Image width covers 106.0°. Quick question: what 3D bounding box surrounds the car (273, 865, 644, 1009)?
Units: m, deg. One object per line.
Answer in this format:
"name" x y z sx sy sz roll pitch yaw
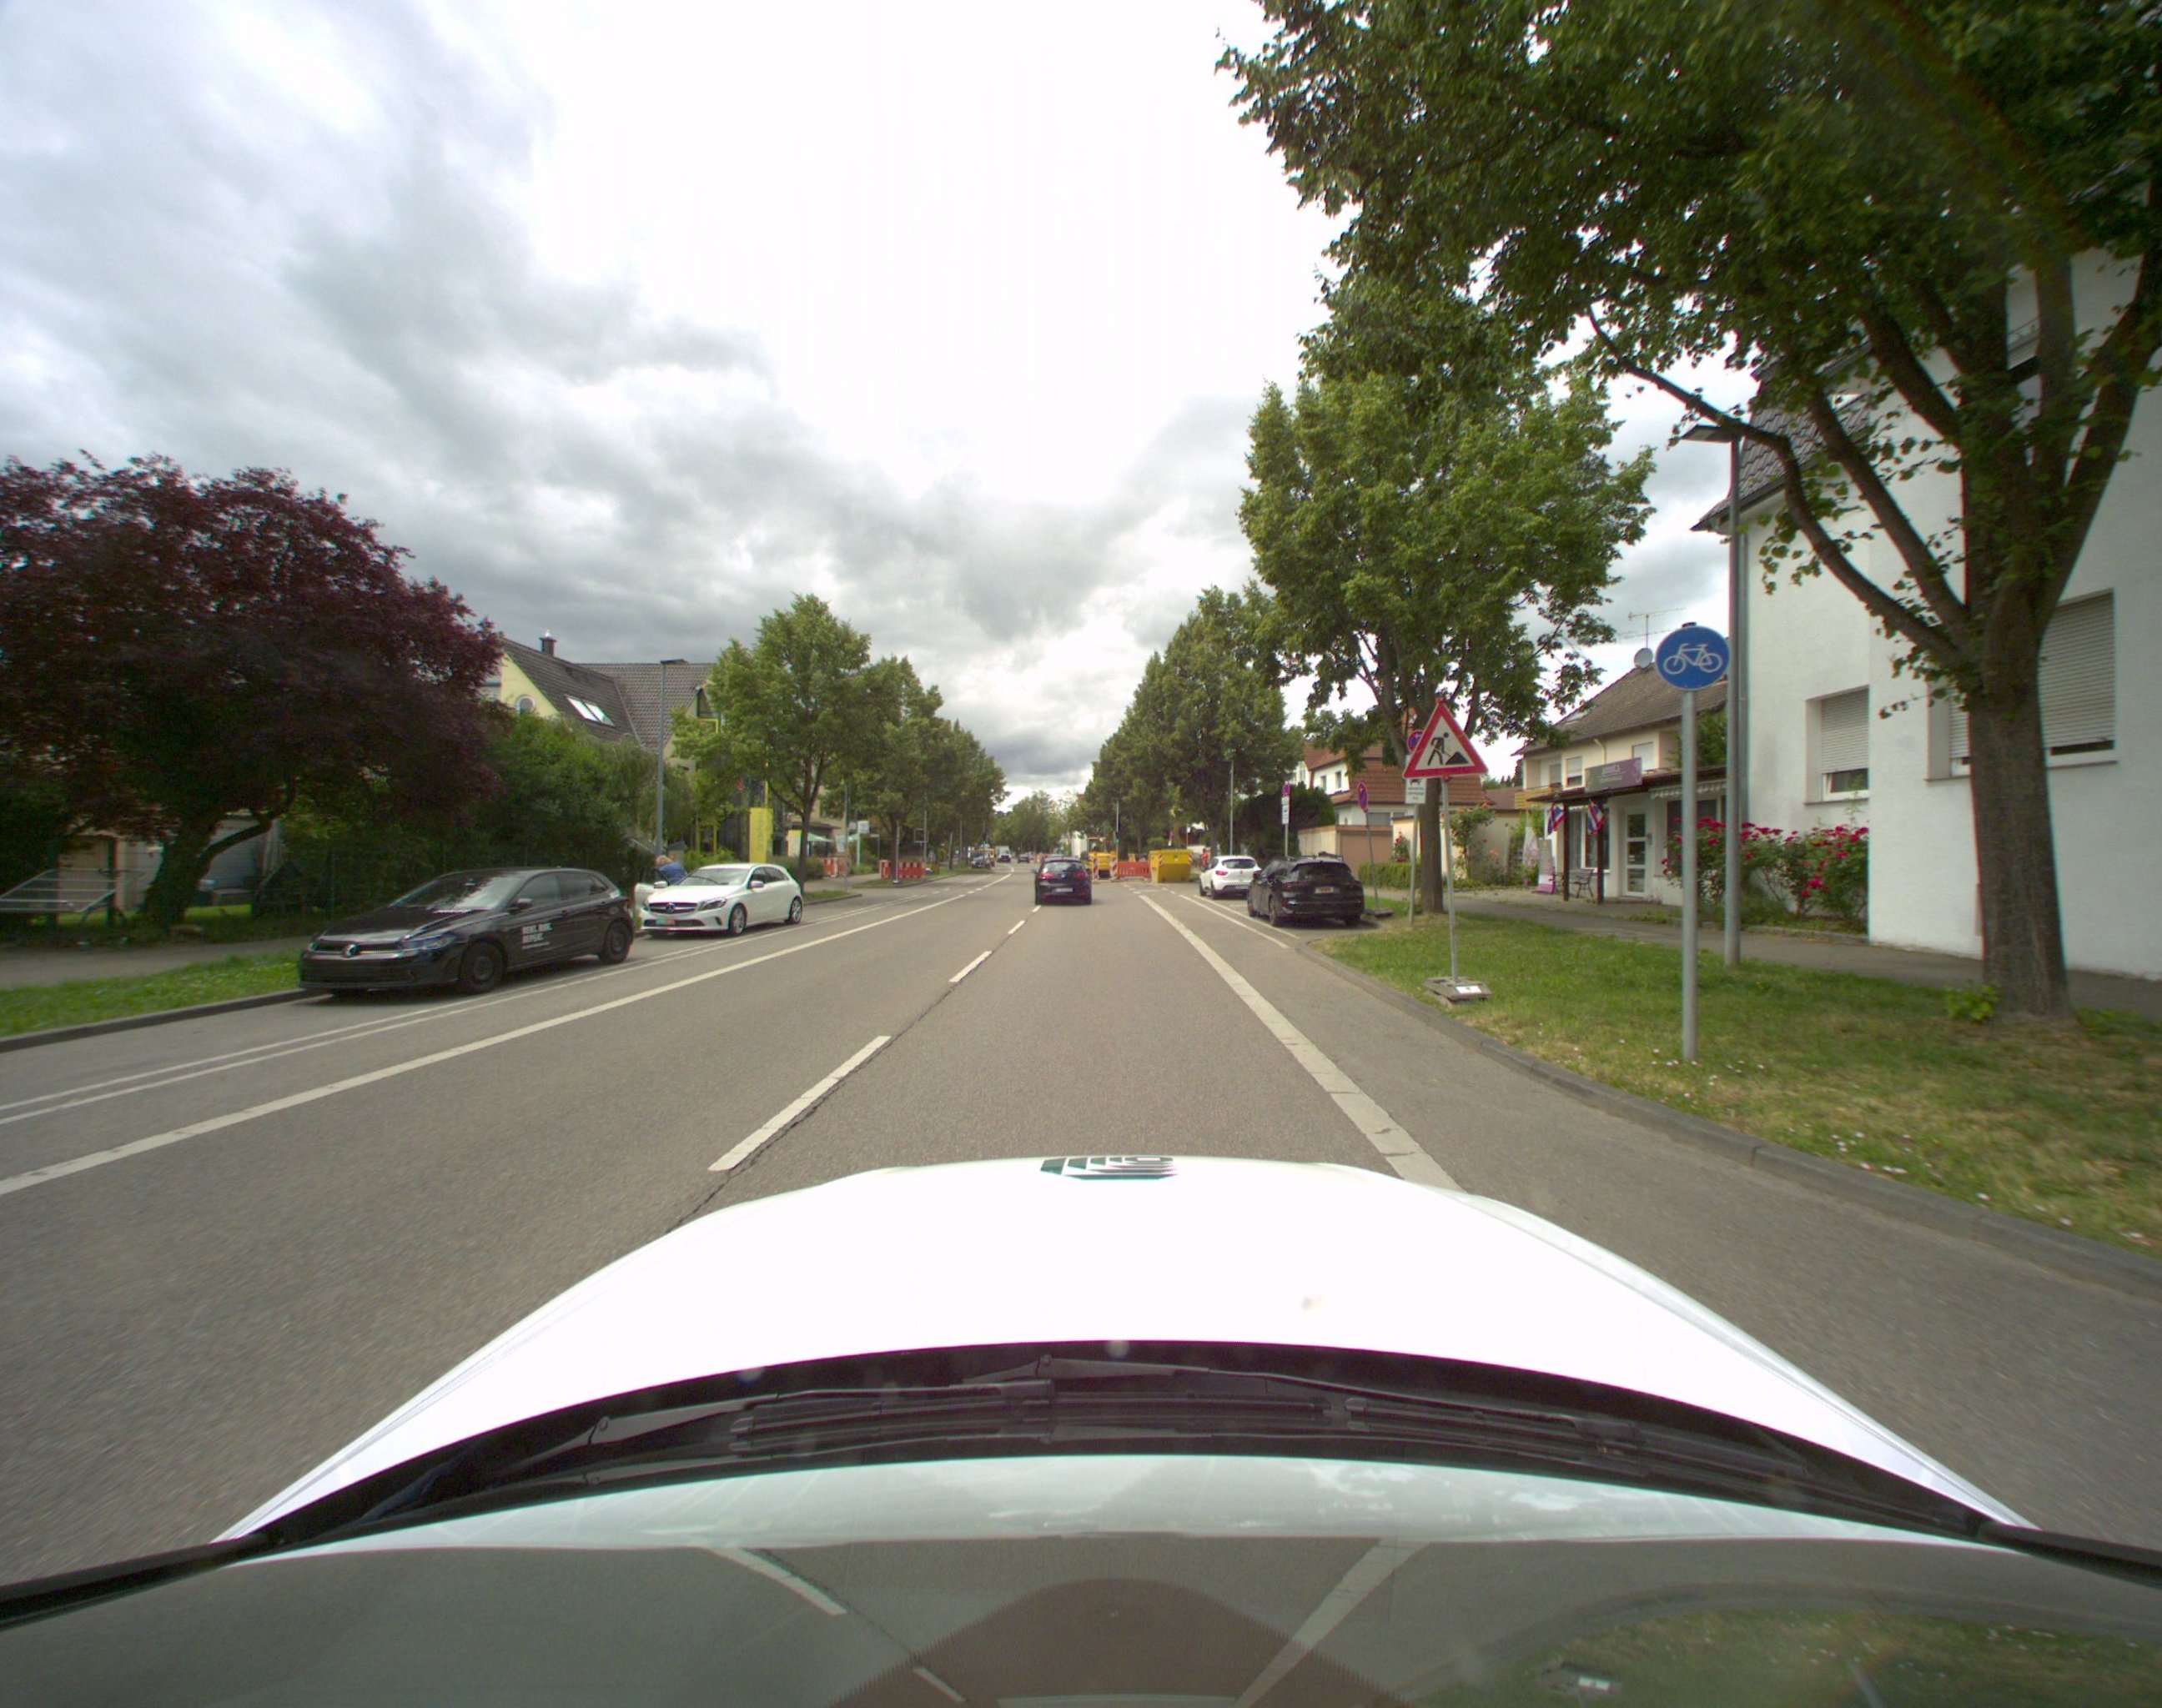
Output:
"car" -7.628 0.904 10.576 1.637 1.420 4.022 -1 0 1

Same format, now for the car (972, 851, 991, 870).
"car" -9.422 0.590 77.426 1.664 1.772 4.460 -1 0 -5

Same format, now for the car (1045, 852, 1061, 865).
"car" -3.489 0.541 100.348 1.788 1.623 3.733 -1 0 -5

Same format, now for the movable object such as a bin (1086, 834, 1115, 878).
"movable object such as a bin" 1.167 0.125 50.081 1.762 2.574 3.740 0 0 0

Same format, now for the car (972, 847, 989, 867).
"car" -13.534 0.418 109.684 2.089 2.626 5.034 0 0 -6

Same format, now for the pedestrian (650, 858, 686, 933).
"pedestrian" -8.674 0.844 17.094 0.585 1.529 0.692 0 0 -33

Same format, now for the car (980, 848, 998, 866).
"car" -11.234 0.365 99.258 2.089 2.175 5.034 0 0 -6

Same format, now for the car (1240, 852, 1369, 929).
"car" 4.772 0.705 18.065 1.699 1.454 4.618 -1 0 1

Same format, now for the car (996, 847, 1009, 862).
"car" -13.038 0.134 135.793 2.026 2.385 5.252 -1 0 -5

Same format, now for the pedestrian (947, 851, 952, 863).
"pedestrian" -18.111 0.421 112.194 0.594 1.741 0.573 0 0 -6

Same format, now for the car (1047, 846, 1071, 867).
"car" -1.858 0.215 69.965 1.899 1.685 3.741 -1 0 1

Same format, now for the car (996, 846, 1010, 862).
"car" -13.576 0.008 141.959 2.284 2.792 7.130 -1 0 -5

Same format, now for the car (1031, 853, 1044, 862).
"car" -7.072 0.505 131.782 1.809 1.415 3.682 0 0 -9

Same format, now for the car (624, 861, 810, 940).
"car" -7.440 0.881 17.185 1.706 1.406 4.305 -1 0 4

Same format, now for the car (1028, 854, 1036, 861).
"car" -10.443 0.775 173.297 1.806 1.415 3.689 0 0 -3

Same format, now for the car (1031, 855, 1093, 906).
"car" -0.535 0.784 25.857 1.813 1.437 3.740 -1 0 0

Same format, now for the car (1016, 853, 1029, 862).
"car" -9.401 0.555 130.610 1.810 1.375 3.681 0 0 -9

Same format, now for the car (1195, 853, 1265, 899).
"car" 5.021 0.694 27.932 1.667 1.462 3.999 -1 0 0
